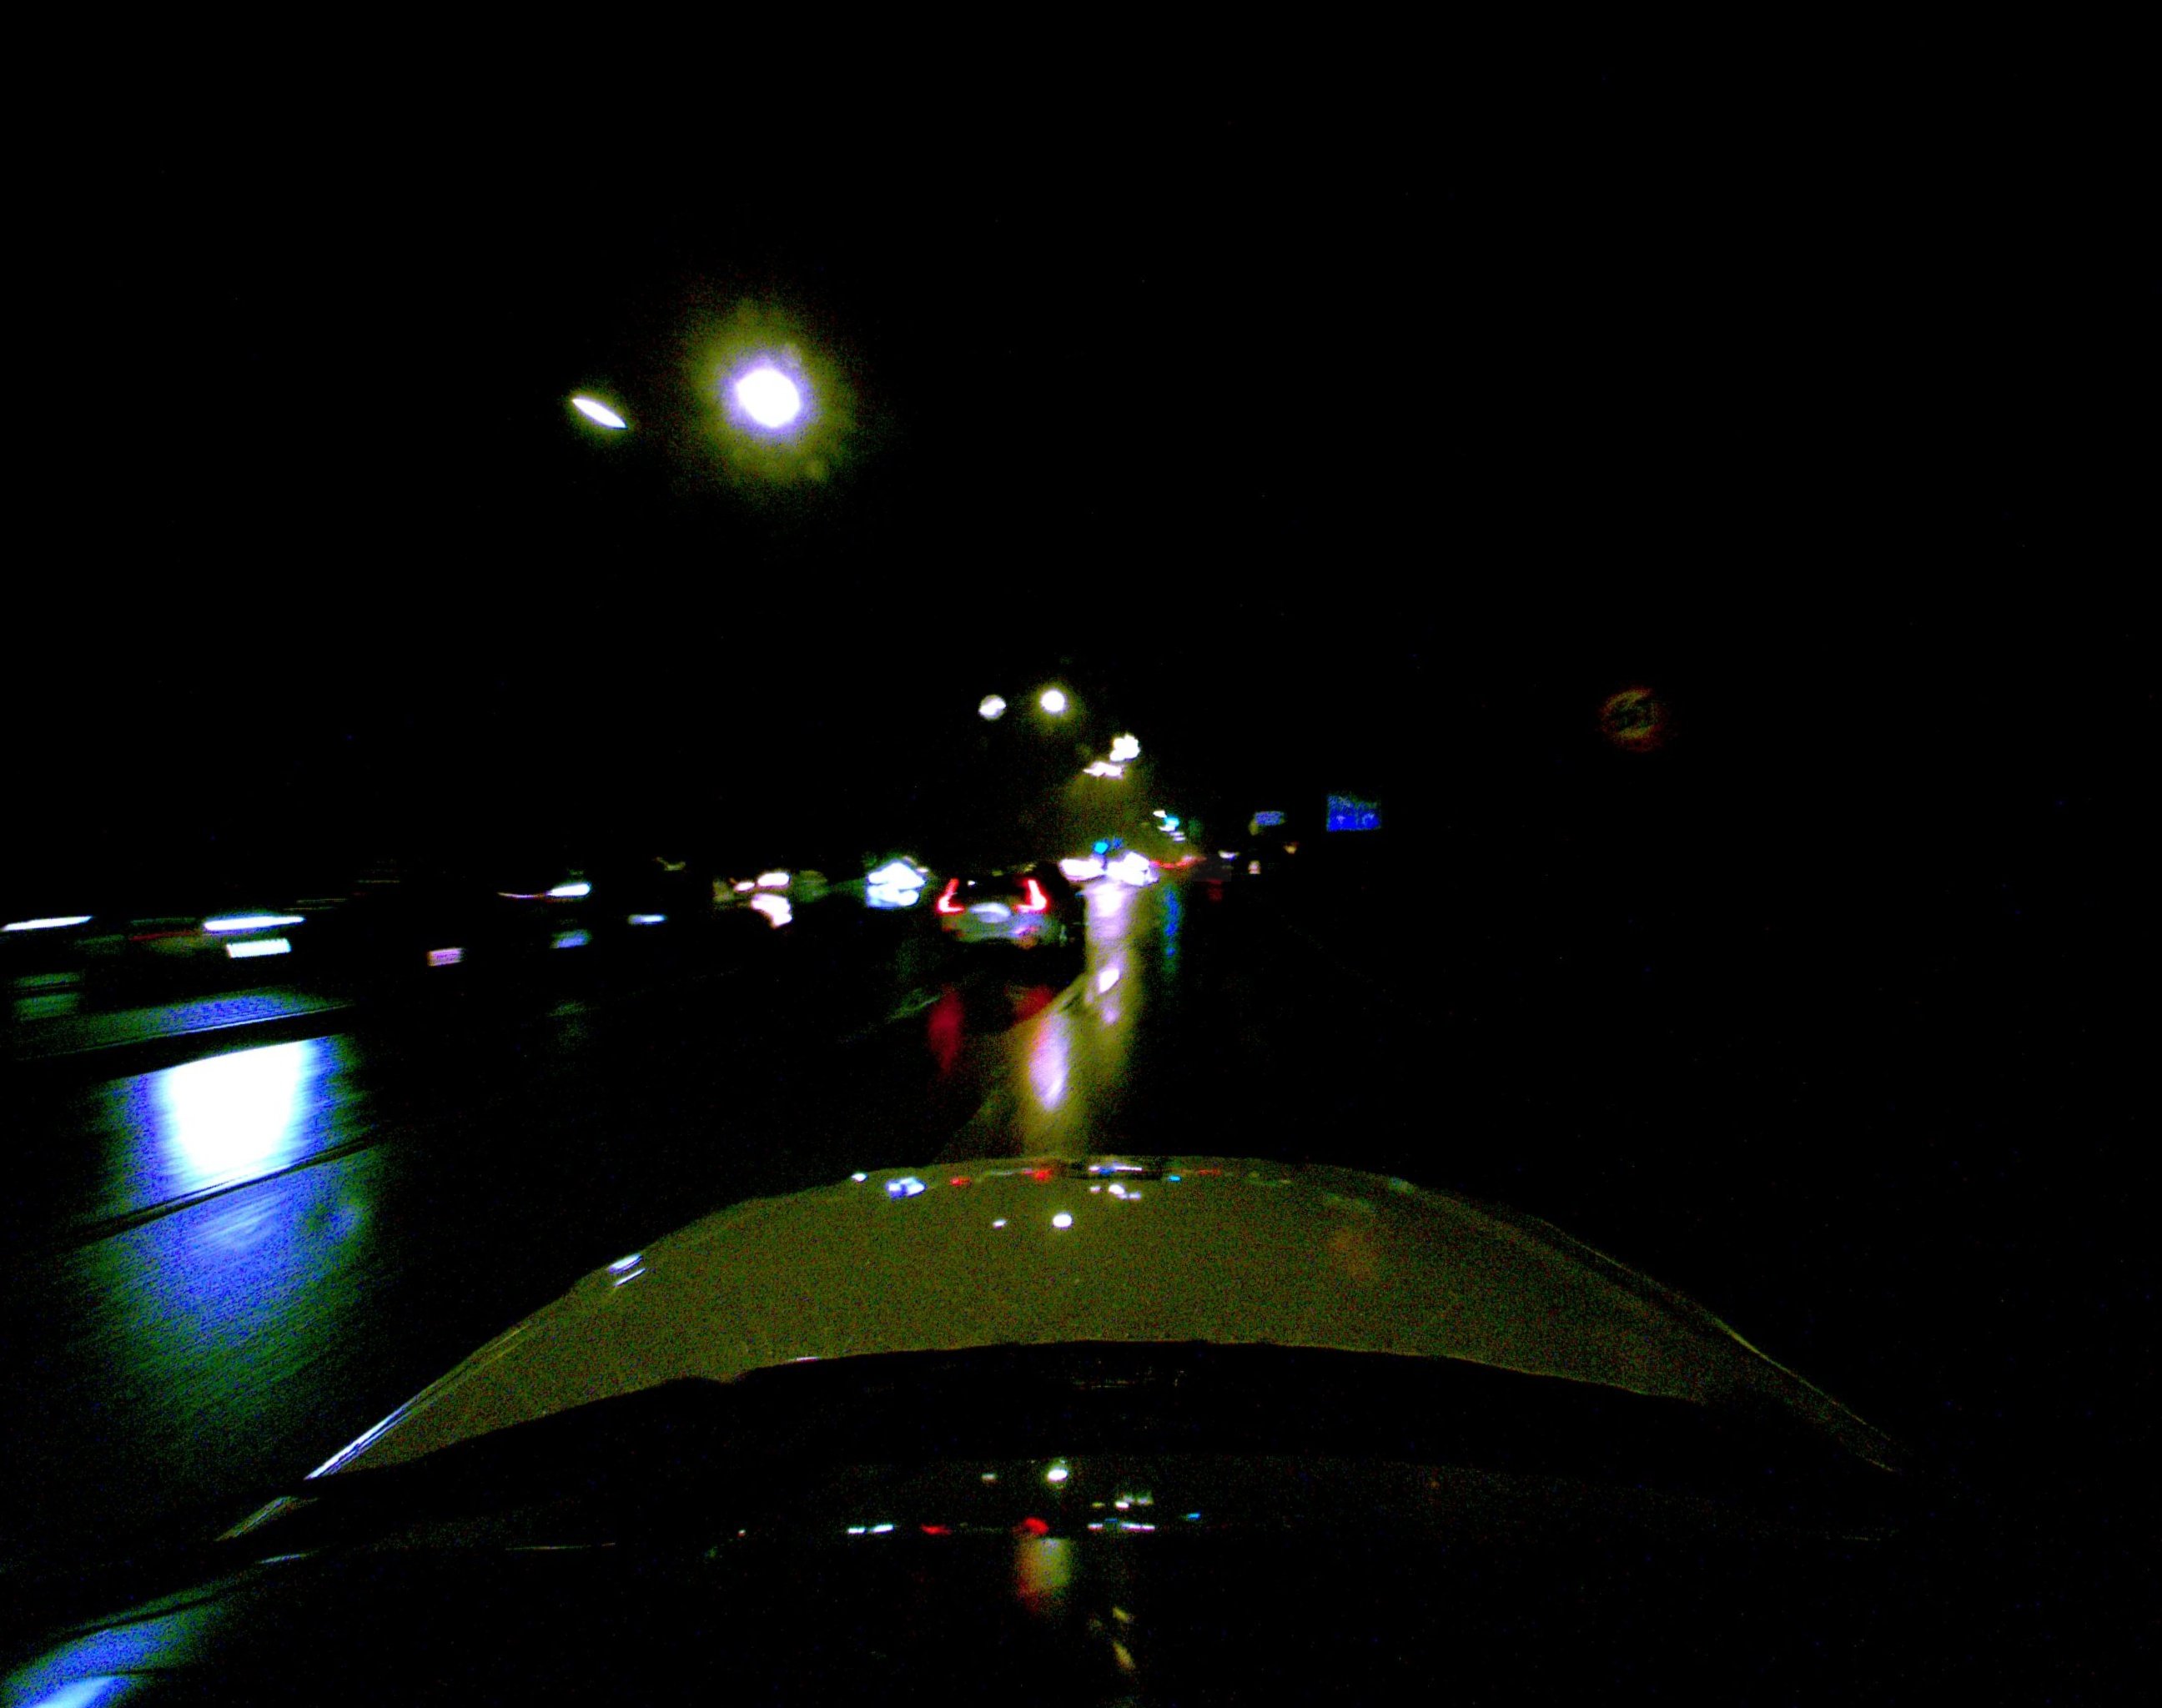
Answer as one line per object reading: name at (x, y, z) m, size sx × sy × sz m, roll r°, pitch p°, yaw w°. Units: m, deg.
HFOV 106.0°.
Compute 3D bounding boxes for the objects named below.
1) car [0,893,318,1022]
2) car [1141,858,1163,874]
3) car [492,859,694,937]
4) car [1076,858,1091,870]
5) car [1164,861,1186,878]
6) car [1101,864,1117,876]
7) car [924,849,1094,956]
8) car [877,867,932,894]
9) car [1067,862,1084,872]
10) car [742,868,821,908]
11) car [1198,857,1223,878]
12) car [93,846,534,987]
car at (-16.361, 1.645, 14.254) m, size 1.750 × 1.848 × 4.133 m, roll -1°, pitch -2°, yaw 8°
car at (8.377, 1.459, 95.503) m, size 2.165 × 1.602 × 4.009 m, roll 4°, pitch -2°, yaw 9°
car at (-11.963, 1.063, 20.398) m, size 1.788 × 1.666 × 4.497 m, roll 2°, pitch -2°, yaw 8°
car at (0.442, 1.652, 132.731) m, size 1.752 × 1.892 × 4.215 m, roll 0°, pitch 0°, yaw 8°
car at (10.157, 1.662, 87.766) m, size 2.165 × 1.602 × 4.009 m, roll 4°, pitch -2°, yaw 9°
car at (3.551, 1.974, 103.091) m, size 1.580 × 1.427 × 3.359 m, roll 0°, pitch 0°, yaw 10°
car at (-1.005, 0.760, 13.701) m, size 1.786 × 1.452 × 4.279 m, roll 2°, pitch -2°, yaw 9°
car at (-10.649, 1.616, 49.531) m, size 1.873 × 1.531 × 4.439 m, roll 2°, pitch -2°, yaw 7°
car at (-0.613, 1.557, 101.205) m, size 1.634 × 1.203 × 3.622 m, roll 0°, pitch 0°, yaw 7°
car at (-13.270, 1.460, 36.333) m, size 1.484 × 1.602 × 4.156 m, roll 0°, pitch 0°, yaw 9°
car at (11.754, 1.263, 73.506) m, size 1.897 × 1.602 × 4.012 m, roll 4°, pitch -2°, yaw 12°
car at (-10.223, 0.740, 11.435) m, size 1.803 × 1.578 × 4.314 m, roll -1°, pitch -1°, yaw 7°
